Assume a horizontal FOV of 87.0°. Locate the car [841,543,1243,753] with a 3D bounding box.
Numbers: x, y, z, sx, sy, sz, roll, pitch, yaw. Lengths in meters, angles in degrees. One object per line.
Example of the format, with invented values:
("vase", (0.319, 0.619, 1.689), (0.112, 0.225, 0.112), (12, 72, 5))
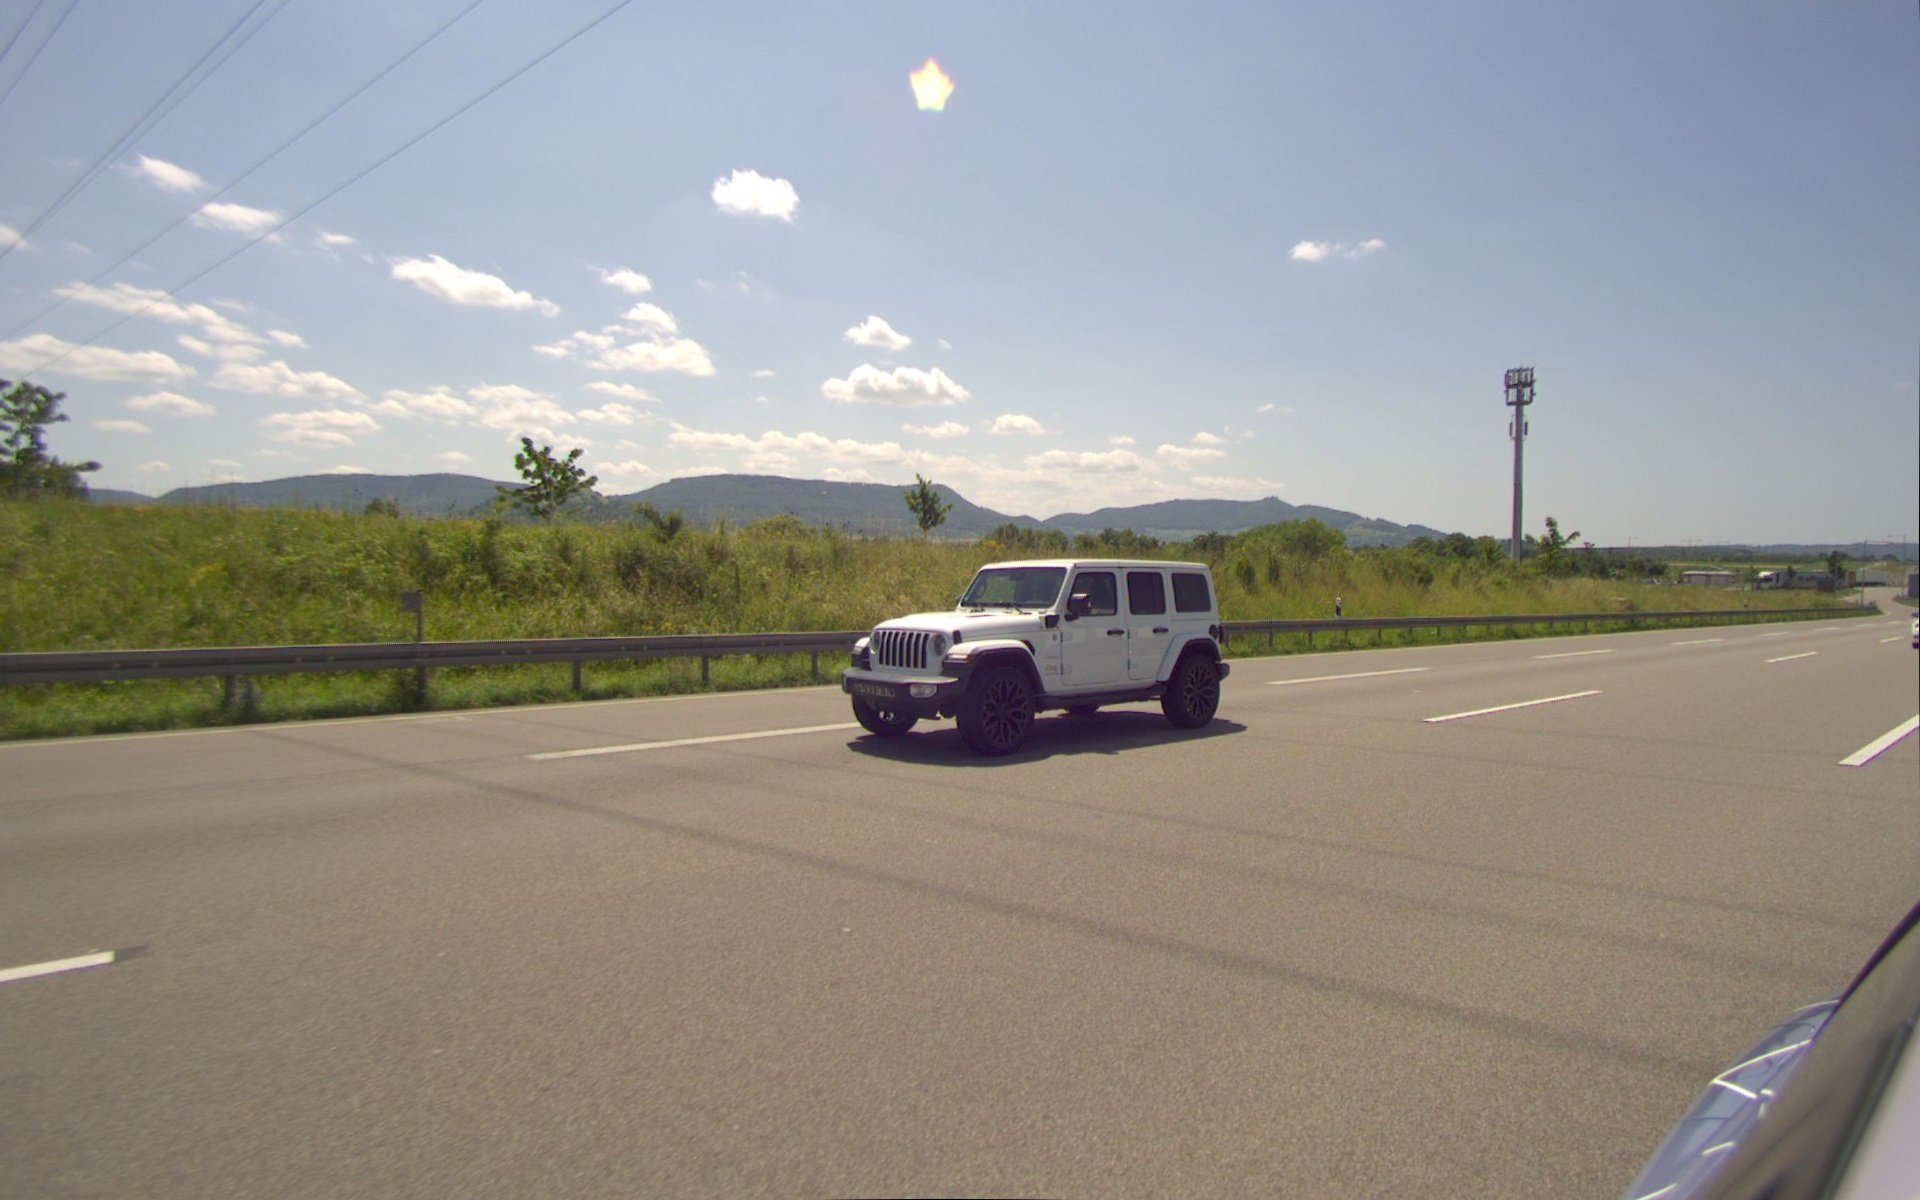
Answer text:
("car", (1.008, 0.397, 10.969), (4.177, 1.827, 2.038), (0, 1, -41))
